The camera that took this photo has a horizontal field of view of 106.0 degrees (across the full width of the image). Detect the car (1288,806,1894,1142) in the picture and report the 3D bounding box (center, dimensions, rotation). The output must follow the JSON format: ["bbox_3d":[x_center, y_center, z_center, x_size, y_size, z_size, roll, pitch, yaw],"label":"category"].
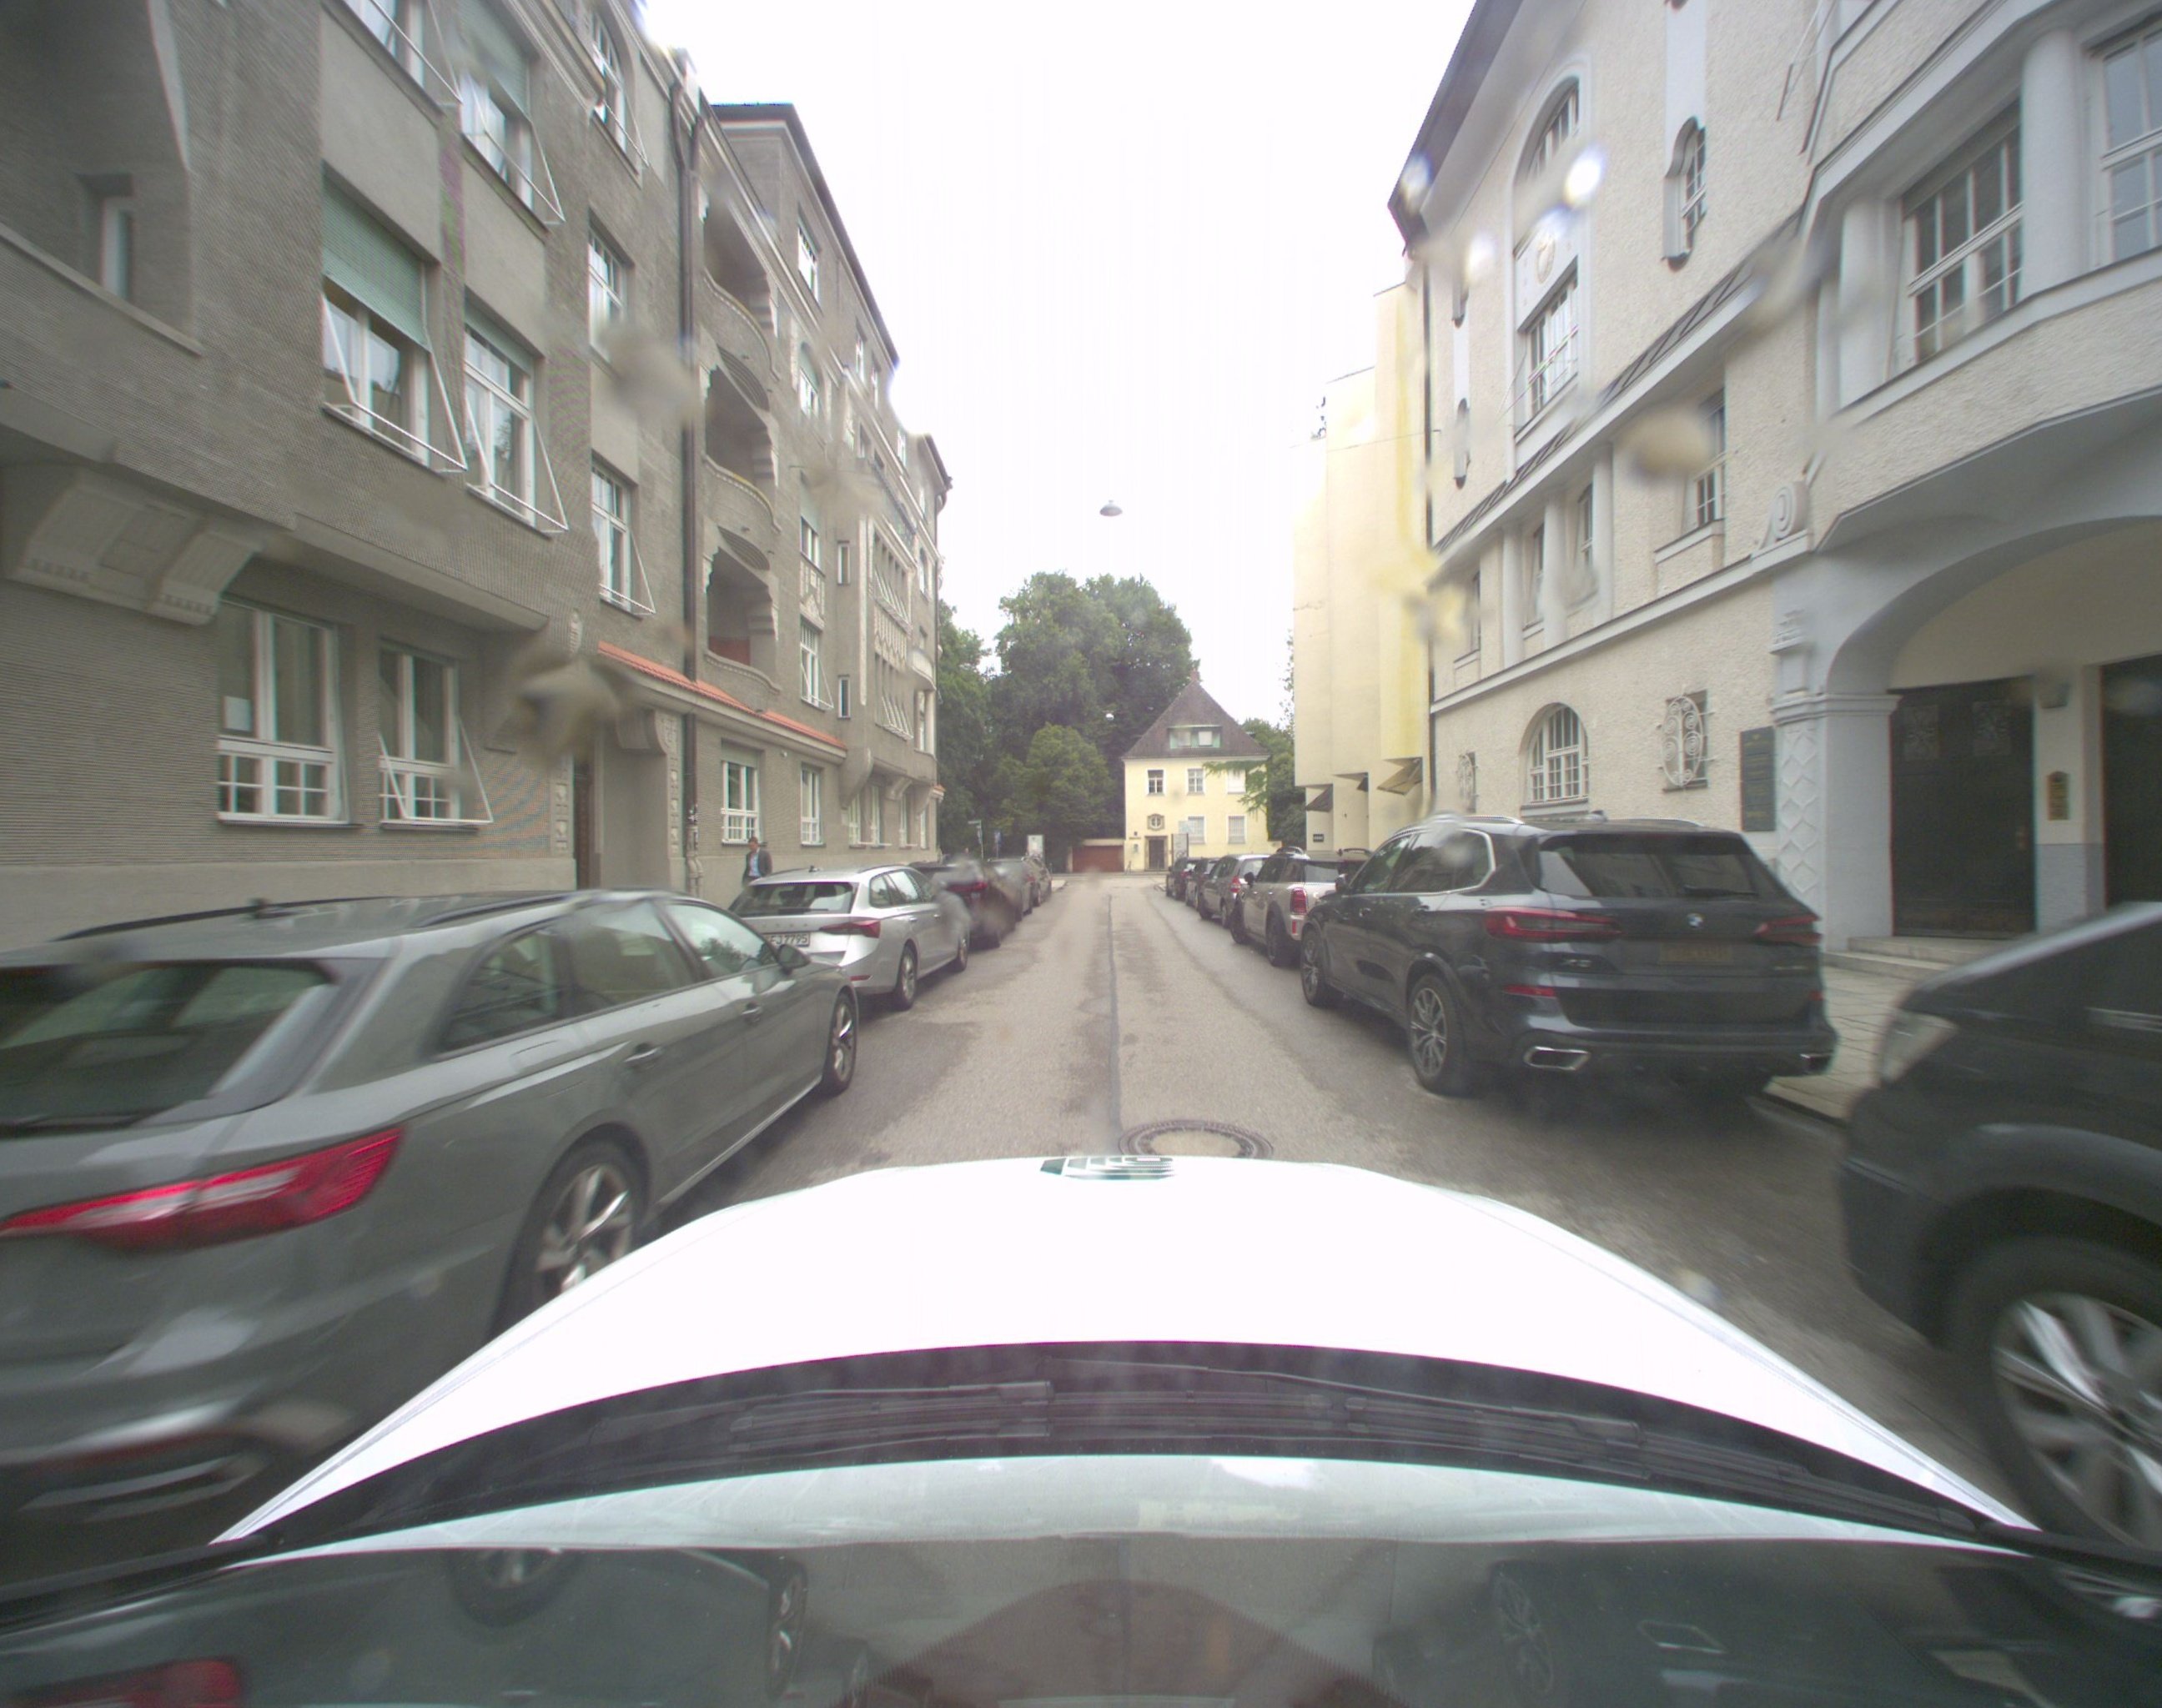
[{"bbox_3d":[3.176,0.594,6.463,1.986,1.689,4.675,0,0,1],"label":"car"}]

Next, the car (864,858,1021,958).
[{"bbox_3d":[-2.295,0.840,14.837,1.987,1.448,4.779,-1,0,0],"label":"car"}]

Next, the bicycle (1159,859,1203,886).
[{"bbox_3d":[4.371,0.806,35.678,1.774,1.085,0.670,-2,1,28],"label":"bicycle"}]

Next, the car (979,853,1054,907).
[{"bbox_3d":[-1.924,0.734,25.662,1.748,1.515,4.711,-1,0,3],"label":"car"}]

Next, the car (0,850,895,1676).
[{"bbox_3d":[-2.348,0.774,3.813,1.831,1.513,4.607,-2,0,0],"label":"car"}]

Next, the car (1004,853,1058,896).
[{"bbox_3d":[-1.829,0.727,30.627,1.697,1.515,2.913,-1,0,3],"label":"car"}]

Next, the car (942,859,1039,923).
[{"bbox_3d":[-2.120,0.837,20.163,1.748,1.331,4.099,-1,0,3],"label":"car"}]

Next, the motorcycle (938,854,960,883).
[{"bbox_3d":[-6.777,0.718,41.885,0.733,1.441,2.147,0,0,0],"label":"motorcycle"}]

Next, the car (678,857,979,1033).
[{"bbox_3d":[-2.505,0.812,9.371,1.798,1.431,4.443,-2,0,3],"label":"car"}]

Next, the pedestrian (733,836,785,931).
[{"bbox_3d":[-6.340,0.563,16.059,0.714,1.817,0.731,0,0,1],"label":"pedestrian"}]

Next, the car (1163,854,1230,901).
[{"bbox_3d":[3.919,0.747,28.294,1.687,1.471,4.610,0,0,0],"label":"car"}]

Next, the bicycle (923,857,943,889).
[{"bbox_3d":[-6.425,0.796,35.341,0.617,1.349,1.673,0,0,-3],"label":"bicycle"}]

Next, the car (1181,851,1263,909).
[{"bbox_3d":[3.855,0.661,22.862,1.629,1.471,3.854,0,0,0],"label":"car"}]

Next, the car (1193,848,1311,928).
[{"bbox_3d":[3.587,0.653,17.720,1.630,1.536,3.852,0,0,-2],"label":"car"}]

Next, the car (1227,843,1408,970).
[{"bbox_3d":[3.345,0.663,12.269,1.628,1.592,3.969,0,0,1],"label":"car"}]

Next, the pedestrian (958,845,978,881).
[{"bbox_3d":[-5.818,0.455,41.985,0.835,1.787,0.937,0,0,4],"label":"pedestrian"}]
